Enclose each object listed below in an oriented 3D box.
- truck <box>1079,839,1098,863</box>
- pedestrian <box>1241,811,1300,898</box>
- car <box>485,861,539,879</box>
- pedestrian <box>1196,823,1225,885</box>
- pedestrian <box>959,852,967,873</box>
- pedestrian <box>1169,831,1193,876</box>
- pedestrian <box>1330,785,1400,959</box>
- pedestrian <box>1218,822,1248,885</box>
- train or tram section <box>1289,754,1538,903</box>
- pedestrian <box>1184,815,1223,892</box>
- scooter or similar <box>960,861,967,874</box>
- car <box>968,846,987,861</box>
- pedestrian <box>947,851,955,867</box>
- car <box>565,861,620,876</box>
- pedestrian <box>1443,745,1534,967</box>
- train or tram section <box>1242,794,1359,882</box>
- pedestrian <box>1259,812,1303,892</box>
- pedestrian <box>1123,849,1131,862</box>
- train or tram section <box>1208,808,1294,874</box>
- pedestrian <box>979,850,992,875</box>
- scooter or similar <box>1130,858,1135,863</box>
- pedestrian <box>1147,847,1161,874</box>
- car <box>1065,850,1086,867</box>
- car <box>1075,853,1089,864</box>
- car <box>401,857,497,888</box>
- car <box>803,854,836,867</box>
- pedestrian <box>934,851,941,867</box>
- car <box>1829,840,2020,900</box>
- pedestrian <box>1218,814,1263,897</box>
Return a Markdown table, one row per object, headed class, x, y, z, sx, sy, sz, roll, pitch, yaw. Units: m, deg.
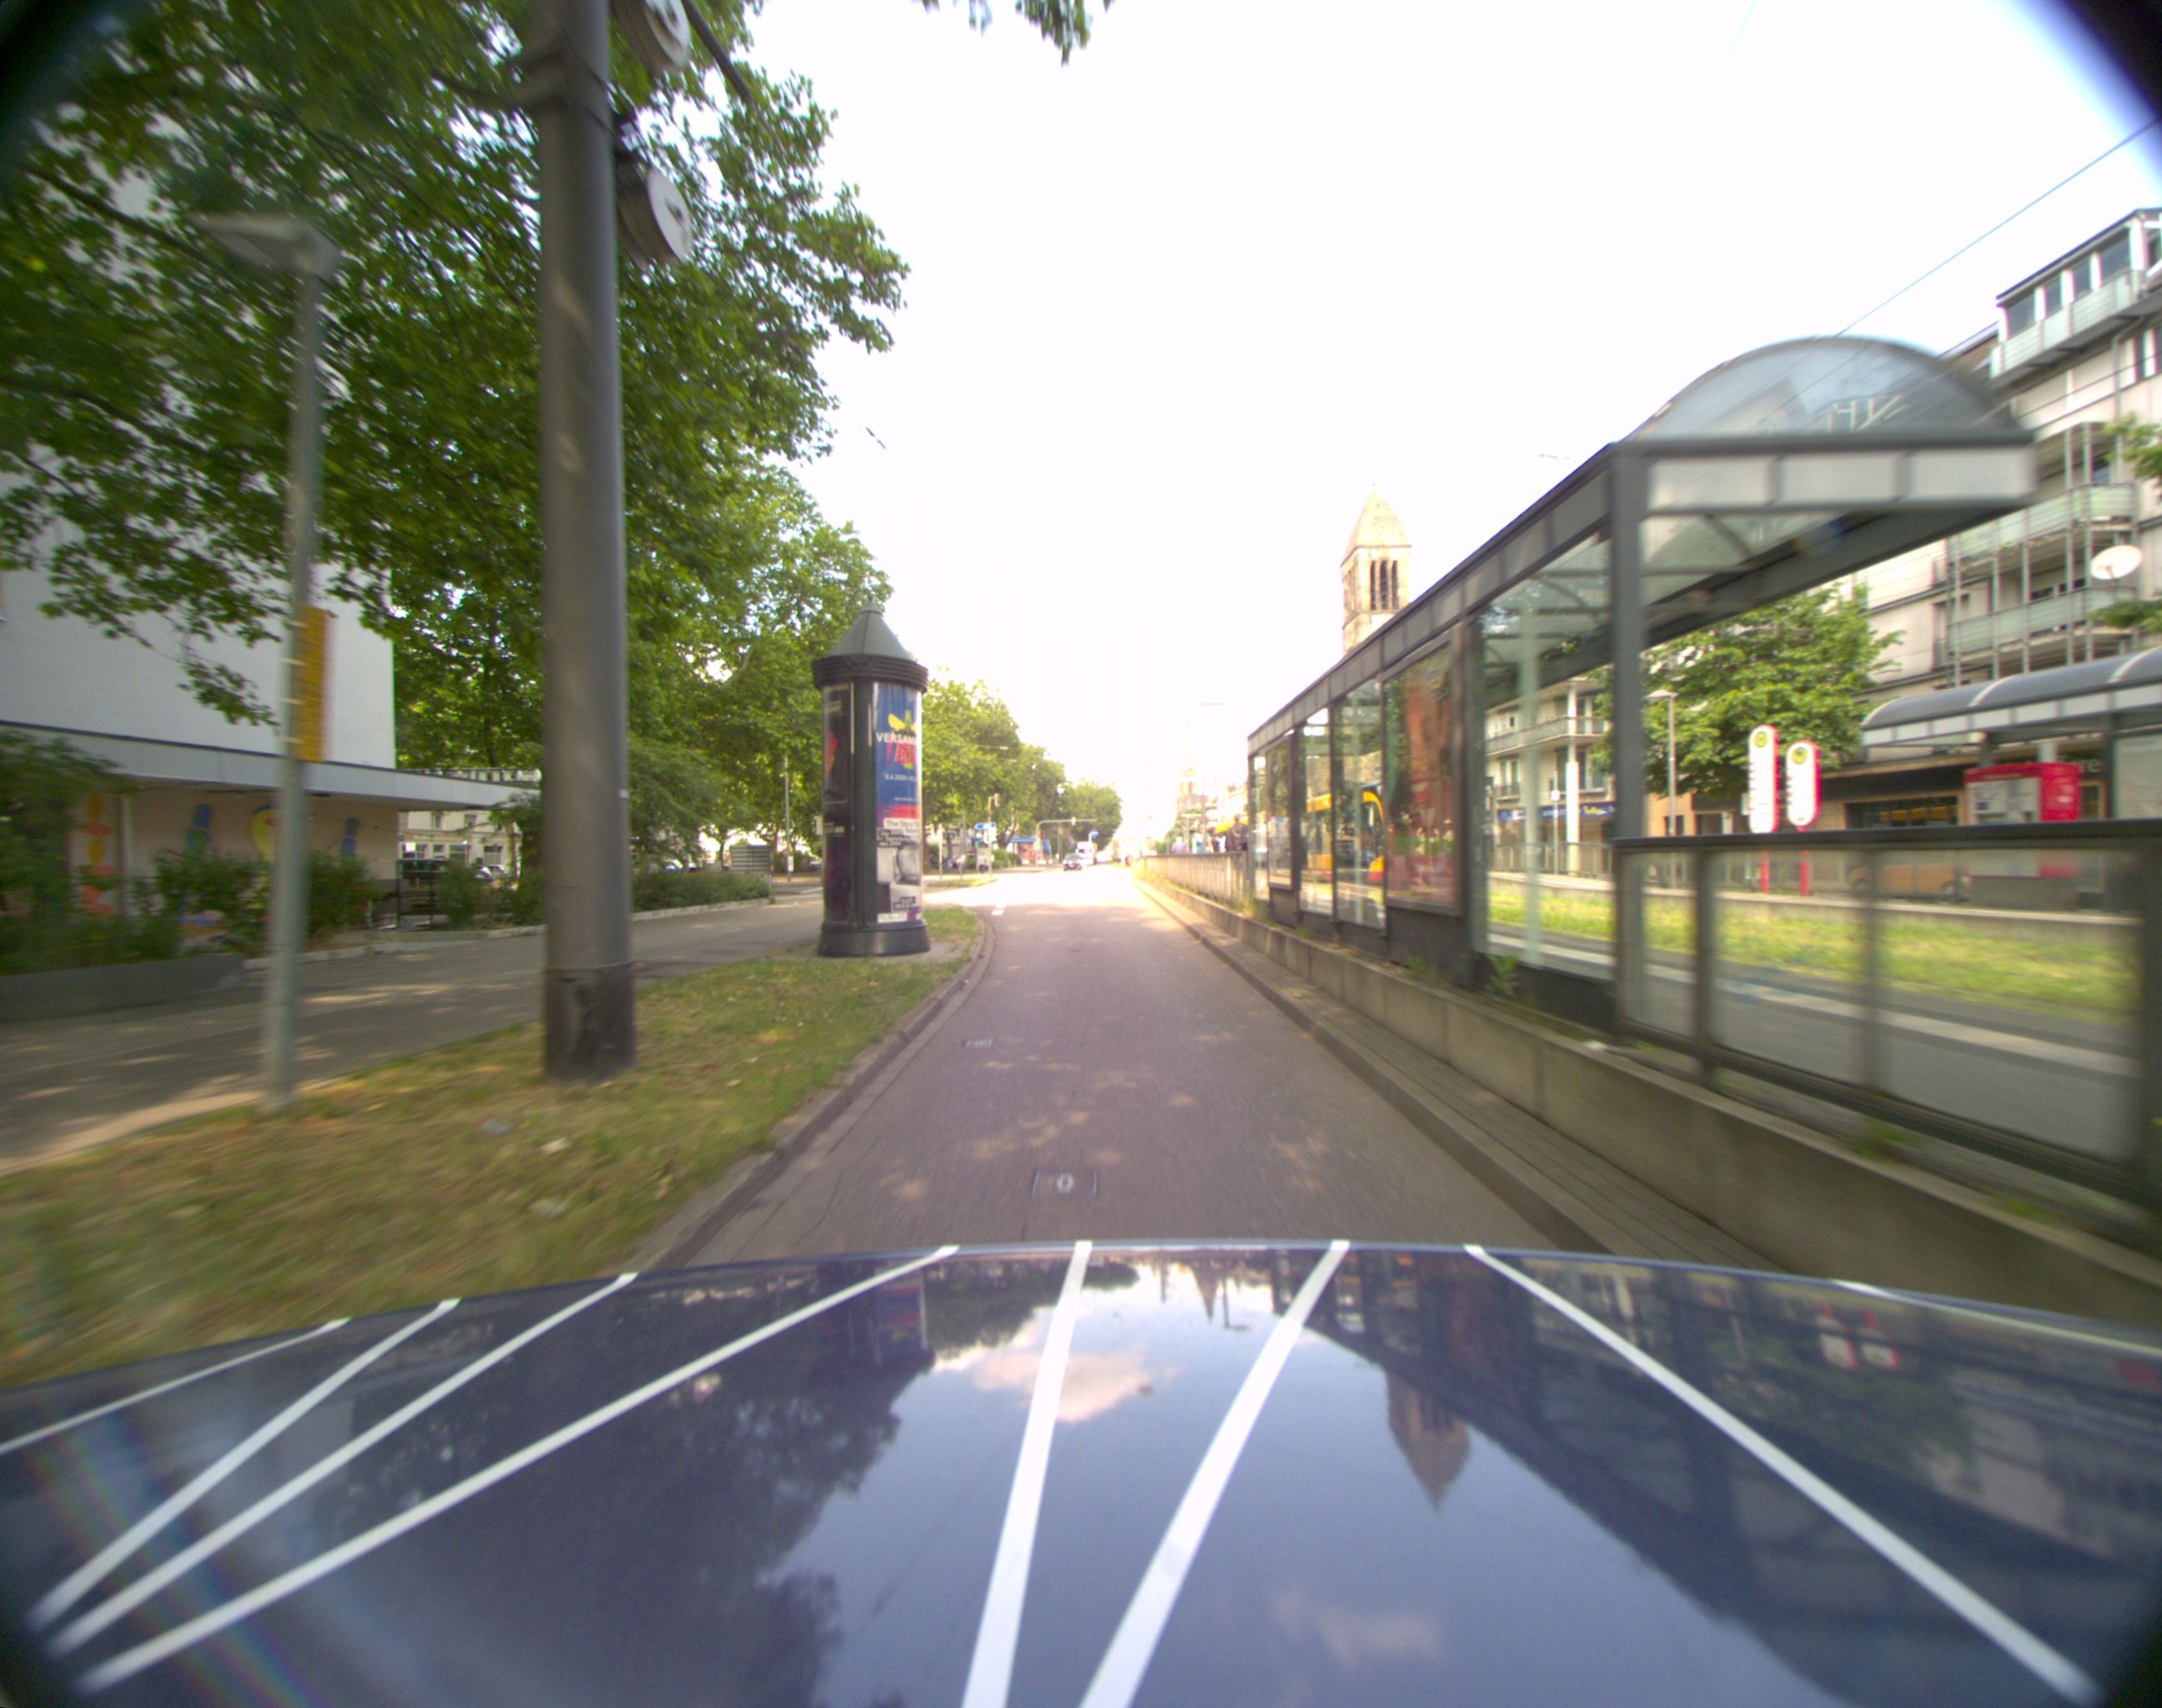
| class | x | y | z | sx | sy | sz | roll | pitch | yaw |
| --- | --- | --- | --- | --- | --- | --- | --- | --- | --- |
| truck | 1.402 | -0.574 | 136.844 | 2.914 | 4.125 | 6.592 | -1 | 1 | 3 |
| pedestrian | 4.071 | 0.007 | 16.442 | 0.888 | 1.790 | 1.494 | -1 | 0 | 1 |
| car | -46.987 | 1.281 | 62.738 | 3.235 | 1.381 | 1.469 | -1 | 0 | -5 |
| pedestrian | 3.905 | -0.012 | 22.943 | 0.703 | 1.838 | 0.789 | -1 | 1 | 1 |
| pedestrian | -9.341 | 0.647 | 60.237 | 0.570 | 1.636 | 0.922 | -1 | 1 | -9 |
| pedestrian | 4.043 | -0.023 | 30.768 | 0.859 | 1.764 | 0.876 | -1 | 1 | 1 |
| pedestrian | 2.760 | 0.171 | 7.423 | 0.471 | 1.632 | 0.537 | -1 | 1 | 0 |
| pedestrian | 4.577 | -0.025 | 22.924 | 0.703 | 1.838 | 0.908 | -1 | 1 | 1 |
| train or tram section | 9.859 | -0.644 | 24.986 | 2.730 | 3.563 | 13.016 | -1 | 0 | 1 |
| pedestrian | 3.087 | -0.020 | 19.174 | 0.829 | 1.888 | 0.846 | -1 | 1 | 1 |
| scooter or similar | -9.204 | 1.046 | 59.425 | 0.491 | 1.050 | 0.708 | -1 | 1 | -9 |
| car | -16.282 | -0.087 | 119.512 | 2.111 | 2.406 | 4.000 | -1 | 1 | 3 |
| pedestrian | -14.144 | 0.509 | 82.698 | 0.606 | 1.740 | 0.697 | -1 | 1 | -22 |
| car | -47.081 | 1.390 | 73.265 | 3.996 | 1.414 | 2.000 | -1 | 0 | 2 |
| pedestrian | 3.631 | 0.017 | 6.785 | 0.472 | 1.889 | 0.536 | -1 | 1 | -23 |
| train or tram section | 10.196 | -0.681 | 36.674 | 2.802 | 3.563 | 10.404 | -1 | 0 | 1 |
| pedestrian | 4.641 | -0.039 | 17.670 | 0.713 | 1.790 | 1.132 | -1 | 1 | 1 |
| pedestrian | 5.360 | 0.189 | 88.439 | 0.776 | 1.483 | 0.657 | 1 | 0 | -10 |
| train or tram section | 10.462 | -0.743 | 48.394 | 2.814 | 3.563 | 13.016 | -1 | 0 | 1 |
| pedestrian | -6.732 | 0.578 | 53.544 | 0.694 | 1.773 | 0.887 | -1 | 1 | 4 |
| scooter or similar | 6.060 | 0.745 | 88.781 | 0.521 | 0.532 | 0.310 | 1 | 0 | -10 |
| pedestrian | 4.467 | 0.386 | 46.390 | 0.624 | 1.656 | 0.677 | -1 | 1 | 29 |
| car | -0.557 | 0.458 | 80.619 | 1.853 | 1.716 | 4.420 | -1 | 0 | 3 |
| car | 0.153 | 0.553 | 100.872 | 1.733 | 1.457 | 4.328 | -1 | 0 | 2 |
| car | -35.665 | 1.037 | 43.026 | 3.753 | 1.651 | 1.864 | -1 | 0 | -21 |
| car | -37.510 | 0.882 | 108.922 | 3.996 | 1.790 | 1.870 | -1 | 1 | 3 |
| pedestrian | -15.613 | 0.502 | 82.747 | 0.606 | 1.740 | 0.697 | -1 | 1 | -22 |
| car | 24.145 | 0.420 | 21.942 | 1.657 | 1.569 | 3.476 | -1 | 0 | -1 |
| pedestrian | 3.710 | 0.025 | 17.720 | 0.812 | 1.862 | 1.031 | -1 | 1 | 1 |
